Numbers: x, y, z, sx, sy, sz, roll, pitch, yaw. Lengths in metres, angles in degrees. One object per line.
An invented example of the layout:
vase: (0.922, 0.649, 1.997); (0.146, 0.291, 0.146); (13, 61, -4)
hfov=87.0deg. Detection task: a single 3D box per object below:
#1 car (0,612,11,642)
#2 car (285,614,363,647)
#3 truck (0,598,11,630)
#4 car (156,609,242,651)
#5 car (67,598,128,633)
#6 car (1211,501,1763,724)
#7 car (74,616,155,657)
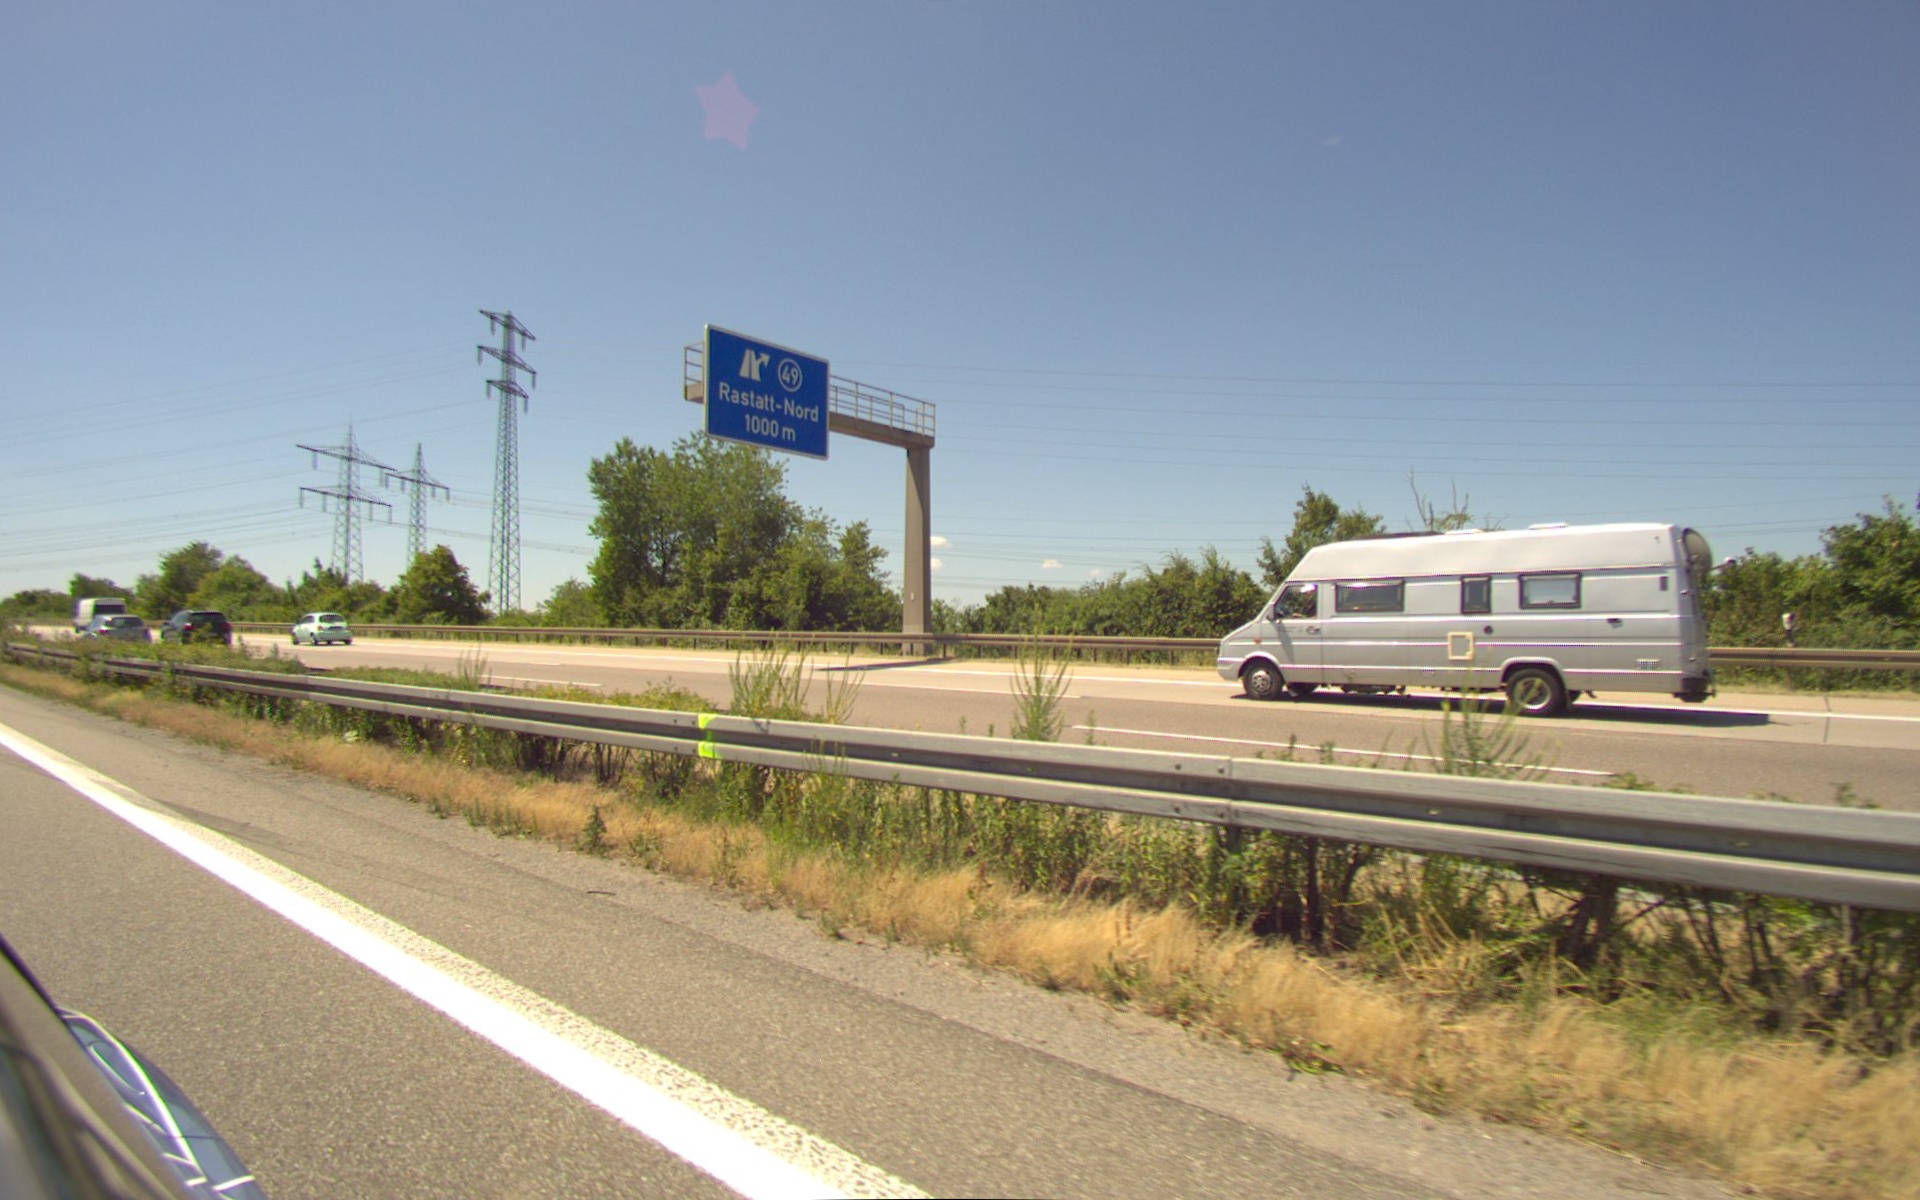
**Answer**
car: (-56.704, 1.570, 58.592); (4.602, 1.711, 1.974); (-1, -1, 39)
car: (-29.806, 1.391, 47.386); (4.085, 1.469, 1.973); (-1, -1, 40)
truck: (-98.435, 1.394, 102.053); (9.652, 3.176, 2.498); (-1, -1, 37)
car: (-33.139, 1.278, 44.037); (4.603, 1.711, 1.973); (-1, -1, 40)
car: (-62.738, 1.117, 73.569); (6.324, 2.496, 2.111); (-1, -1, 37)
car: (7.561, 0.187, 15.348); (7.177, 2.706, 1.973); (-1, -1, 40)
car: (-32.726, 1.360, 39.129); (4.247, 1.477, 1.729); (-1, -1, 40)
